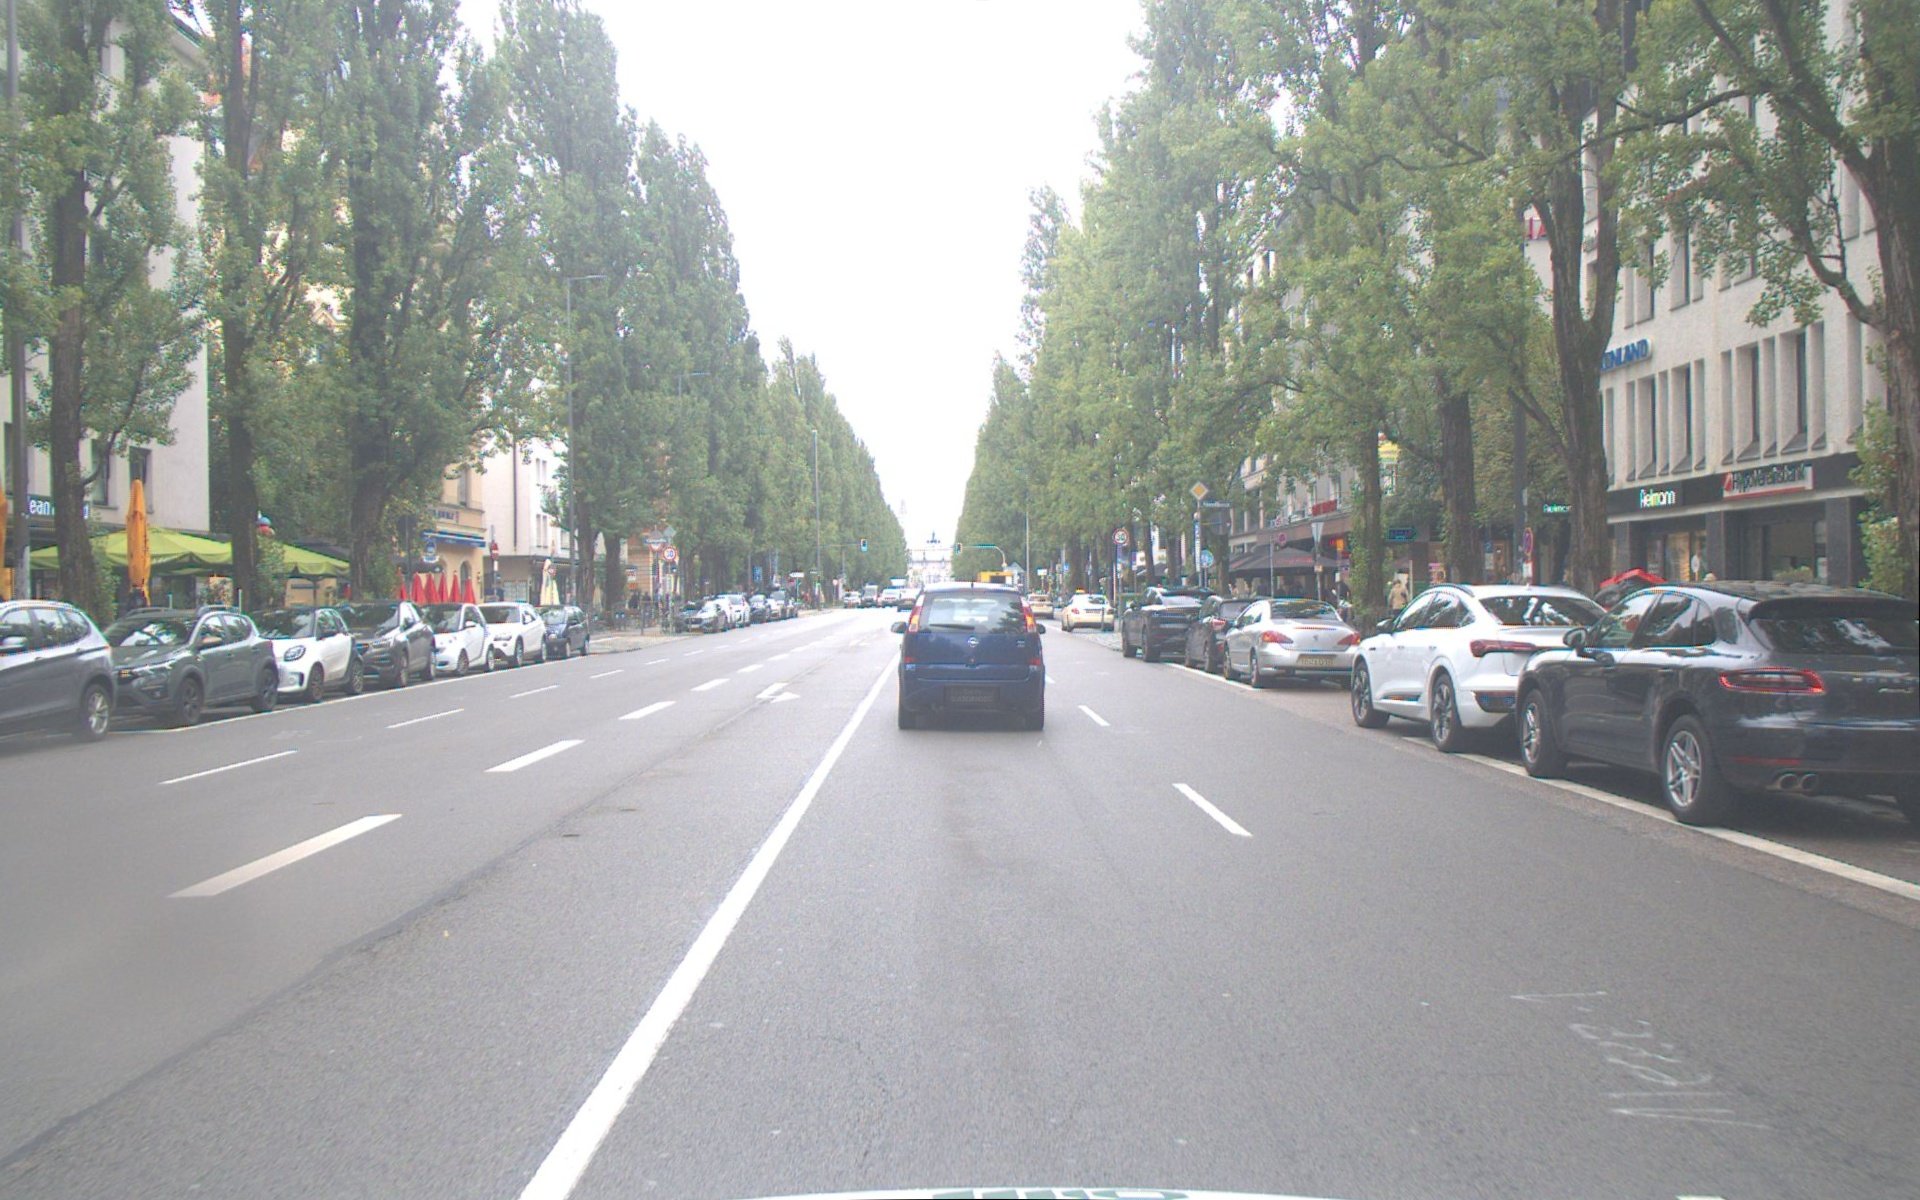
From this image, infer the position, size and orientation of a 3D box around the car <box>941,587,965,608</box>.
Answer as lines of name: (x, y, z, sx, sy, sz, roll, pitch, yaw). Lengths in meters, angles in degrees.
car: (-0.605, -0.227, 141.825, 1.922, 1.706, 3.778, -1, 0, -2)

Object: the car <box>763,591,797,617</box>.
car: (-12.179, 0.239, 112.282, 1.953, 1.691, 3.999, -1, 0, -2)

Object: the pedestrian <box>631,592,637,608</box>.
pedestrian: (-21.712, 0.005, 110.094, 0.283, 1.109, 0.258, -1, 0, 4)

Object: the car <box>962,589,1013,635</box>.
car: (0.985, 0.409, 61.340, 1.671, 1.601, 3.999, -1, 0, -2)

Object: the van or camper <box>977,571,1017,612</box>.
van or camper: (2.401, -0.565, 110.021, 2.426, 2.626, 5.843, -1, 0, -1)

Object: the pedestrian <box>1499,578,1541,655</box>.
pedestrian: (12.090, 0.357, 35.723, 0.640, 1.629, 0.704, 1, 0, -1)

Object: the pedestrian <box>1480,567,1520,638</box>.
pedestrian: (14.094, 0.061, 43.213, 0.777, 1.843, 0.682, -1, 0, -3)

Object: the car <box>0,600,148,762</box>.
car: (-11.022, 0.898, 18.333, 1.827, 1.683, 4.614, -3, 0, -2)

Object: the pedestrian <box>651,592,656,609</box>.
pedestrian: (-20.233, 0.019, 109.260, 0.283, 1.109, 0.258, -1, 0, 4)

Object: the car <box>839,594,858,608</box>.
car: (-12.962, 0.141, 192.469, 1.922, 1.576, 3.778, -1, 0, -2)

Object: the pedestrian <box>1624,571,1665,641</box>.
pedestrian: (16.406, 0.141, 39.666, 0.641, 1.655, 0.704, -1, 0, -4)

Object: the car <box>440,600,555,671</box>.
car: (-11.126, 0.810, 40.059, 1.798, 1.573, 4.084, -1, 0, -3)

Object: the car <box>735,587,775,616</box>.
car: (-11.821, 0.081, 95.396, 1.922, 1.557, 3.998, -1, 0, -2)

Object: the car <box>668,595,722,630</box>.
car: (-11.618, 0.529, 72.743, 1.793, 1.445, 3.810, -1, 0, -1)

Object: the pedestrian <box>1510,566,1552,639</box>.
pedestrian: (14.132, 0.060, 40.959, 0.712, 1.781, 0.859, 1, 0, -2)

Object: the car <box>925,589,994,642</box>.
car: (-0.050, 0.429, 50.365, 1.953, 1.523, 3.999, -1, 0, -2)

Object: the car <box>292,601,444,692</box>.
car: (-11.240, 0.831, 31.689, 1.805, 1.592, 4.174, -1, 0, -6)

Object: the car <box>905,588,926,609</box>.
car: (-3.889, -0.135, 145.942, 1.798, 1.792, 3.778, -1, 0, -2)

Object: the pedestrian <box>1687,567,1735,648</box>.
pedestrian: (15.685, 0.157, 34.575, 0.641, 1.655, 0.704, -1, 0, -4)

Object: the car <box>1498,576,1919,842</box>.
car: (5.765, 0.643, 12.286, 1.953, 1.592, 4.482, -1, 0, -2)

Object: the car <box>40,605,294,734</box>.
car: (-10.920, 0.893, 23.109, 1.663, 1.577, 4.080, -1, 0, -2)

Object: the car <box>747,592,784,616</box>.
car: (-11.913, 0.248, 101.624, 1.922, 1.424, 3.778, -1, 0, -2)

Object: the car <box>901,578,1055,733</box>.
car: (0.133, 0.581, 19.779, 1.647, 1.670, 3.999, 0, 0, -2)

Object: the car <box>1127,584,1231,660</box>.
car: (4.945, 0.474, 37.848, 1.761, 1.621, 4.104, 1, 0, -1)

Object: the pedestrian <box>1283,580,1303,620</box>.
pedestrian: (12.946, 0.008, 64.316, 0.627, 1.553, 0.484, -1, 0, -1)

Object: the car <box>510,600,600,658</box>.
car: (-11.050, 0.760, 45.295, 1.553, 1.472, 3.391, -1, 0, 1)

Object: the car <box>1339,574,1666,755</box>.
car: (5.519, 0.586, 17.531, 1.790, 1.649, 4.746, 0, 0, -2)

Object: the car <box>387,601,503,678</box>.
car: (-11.200, 0.830, 36.130, 1.540, 1.561, 2.923, -1, 0, 1)

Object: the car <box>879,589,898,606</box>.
car: (-7.398, -0.214, 171.270, 1.798, 1.706, 3.778, -1, 0, -2)

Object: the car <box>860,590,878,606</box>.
car: (-10.061, -0.227, 182.436, 1.798, 1.769, 3.778, -1, 0, -2)

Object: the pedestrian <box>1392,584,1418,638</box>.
pedestrian: (14.879, 0.362, 55.311, 0.640, 1.781, 0.859, 1, 0, -1)

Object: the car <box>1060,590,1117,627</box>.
car: (5.007, 0.317, 64.785, 1.858, 1.386, 3.899, -1, 0, -1)

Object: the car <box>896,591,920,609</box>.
car: (-4.199, 0.007, 133.789, 1.922, 1.424, 3.778, -1, 0, -2)

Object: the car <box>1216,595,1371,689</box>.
car: (5.507, 0.655, 27.786, 1.636, 1.431, 4.126, 1, 0, -2)

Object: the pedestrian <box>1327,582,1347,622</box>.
pedestrian: (14.867, 0.090, 65.211, 0.627, 1.553, 0.484, -1, 0, -1)

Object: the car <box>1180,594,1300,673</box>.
car: (5.444, 0.624, 32.548, 1.648, 1.439, 3.582, 1, 0, -2)

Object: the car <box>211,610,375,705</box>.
car: (-11.106, 0.923, 27.729, 1.598, 1.453, 2.982, -1, 0, -2)

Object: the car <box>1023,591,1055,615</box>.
car: (4.714, 0.159, 99.365, 1.635, 1.376, 4.104, -1, 0, -1)

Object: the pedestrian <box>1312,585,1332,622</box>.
pedestrian: (14.848, 0.133, 67.862, 0.670, 1.494, 0.678, -1, 0, -1)

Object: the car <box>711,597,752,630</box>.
car: (-11.514, 0.672, 83.594, 1.620, 1.589, 3.457, -1, 0, -1)

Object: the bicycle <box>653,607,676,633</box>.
bicycle: (-11.949, 0.801, 67.025, 0.652, 1.023, 2.460, -1, 0, -4)

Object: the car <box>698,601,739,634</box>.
car: (-11.469, 0.830, 78.674, 1.515, 1.478, 3.457, -1, 0, -1)

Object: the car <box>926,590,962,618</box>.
car: (-0.919, 0.225, 94.145, 1.953, 1.523, 3.999, -1, 0, -2)

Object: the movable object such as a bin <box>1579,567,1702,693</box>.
movable object such as a bin: (9.786, 0.412, 23.846, 1.012, 1.733, 1.585, -1, 0, -5)
